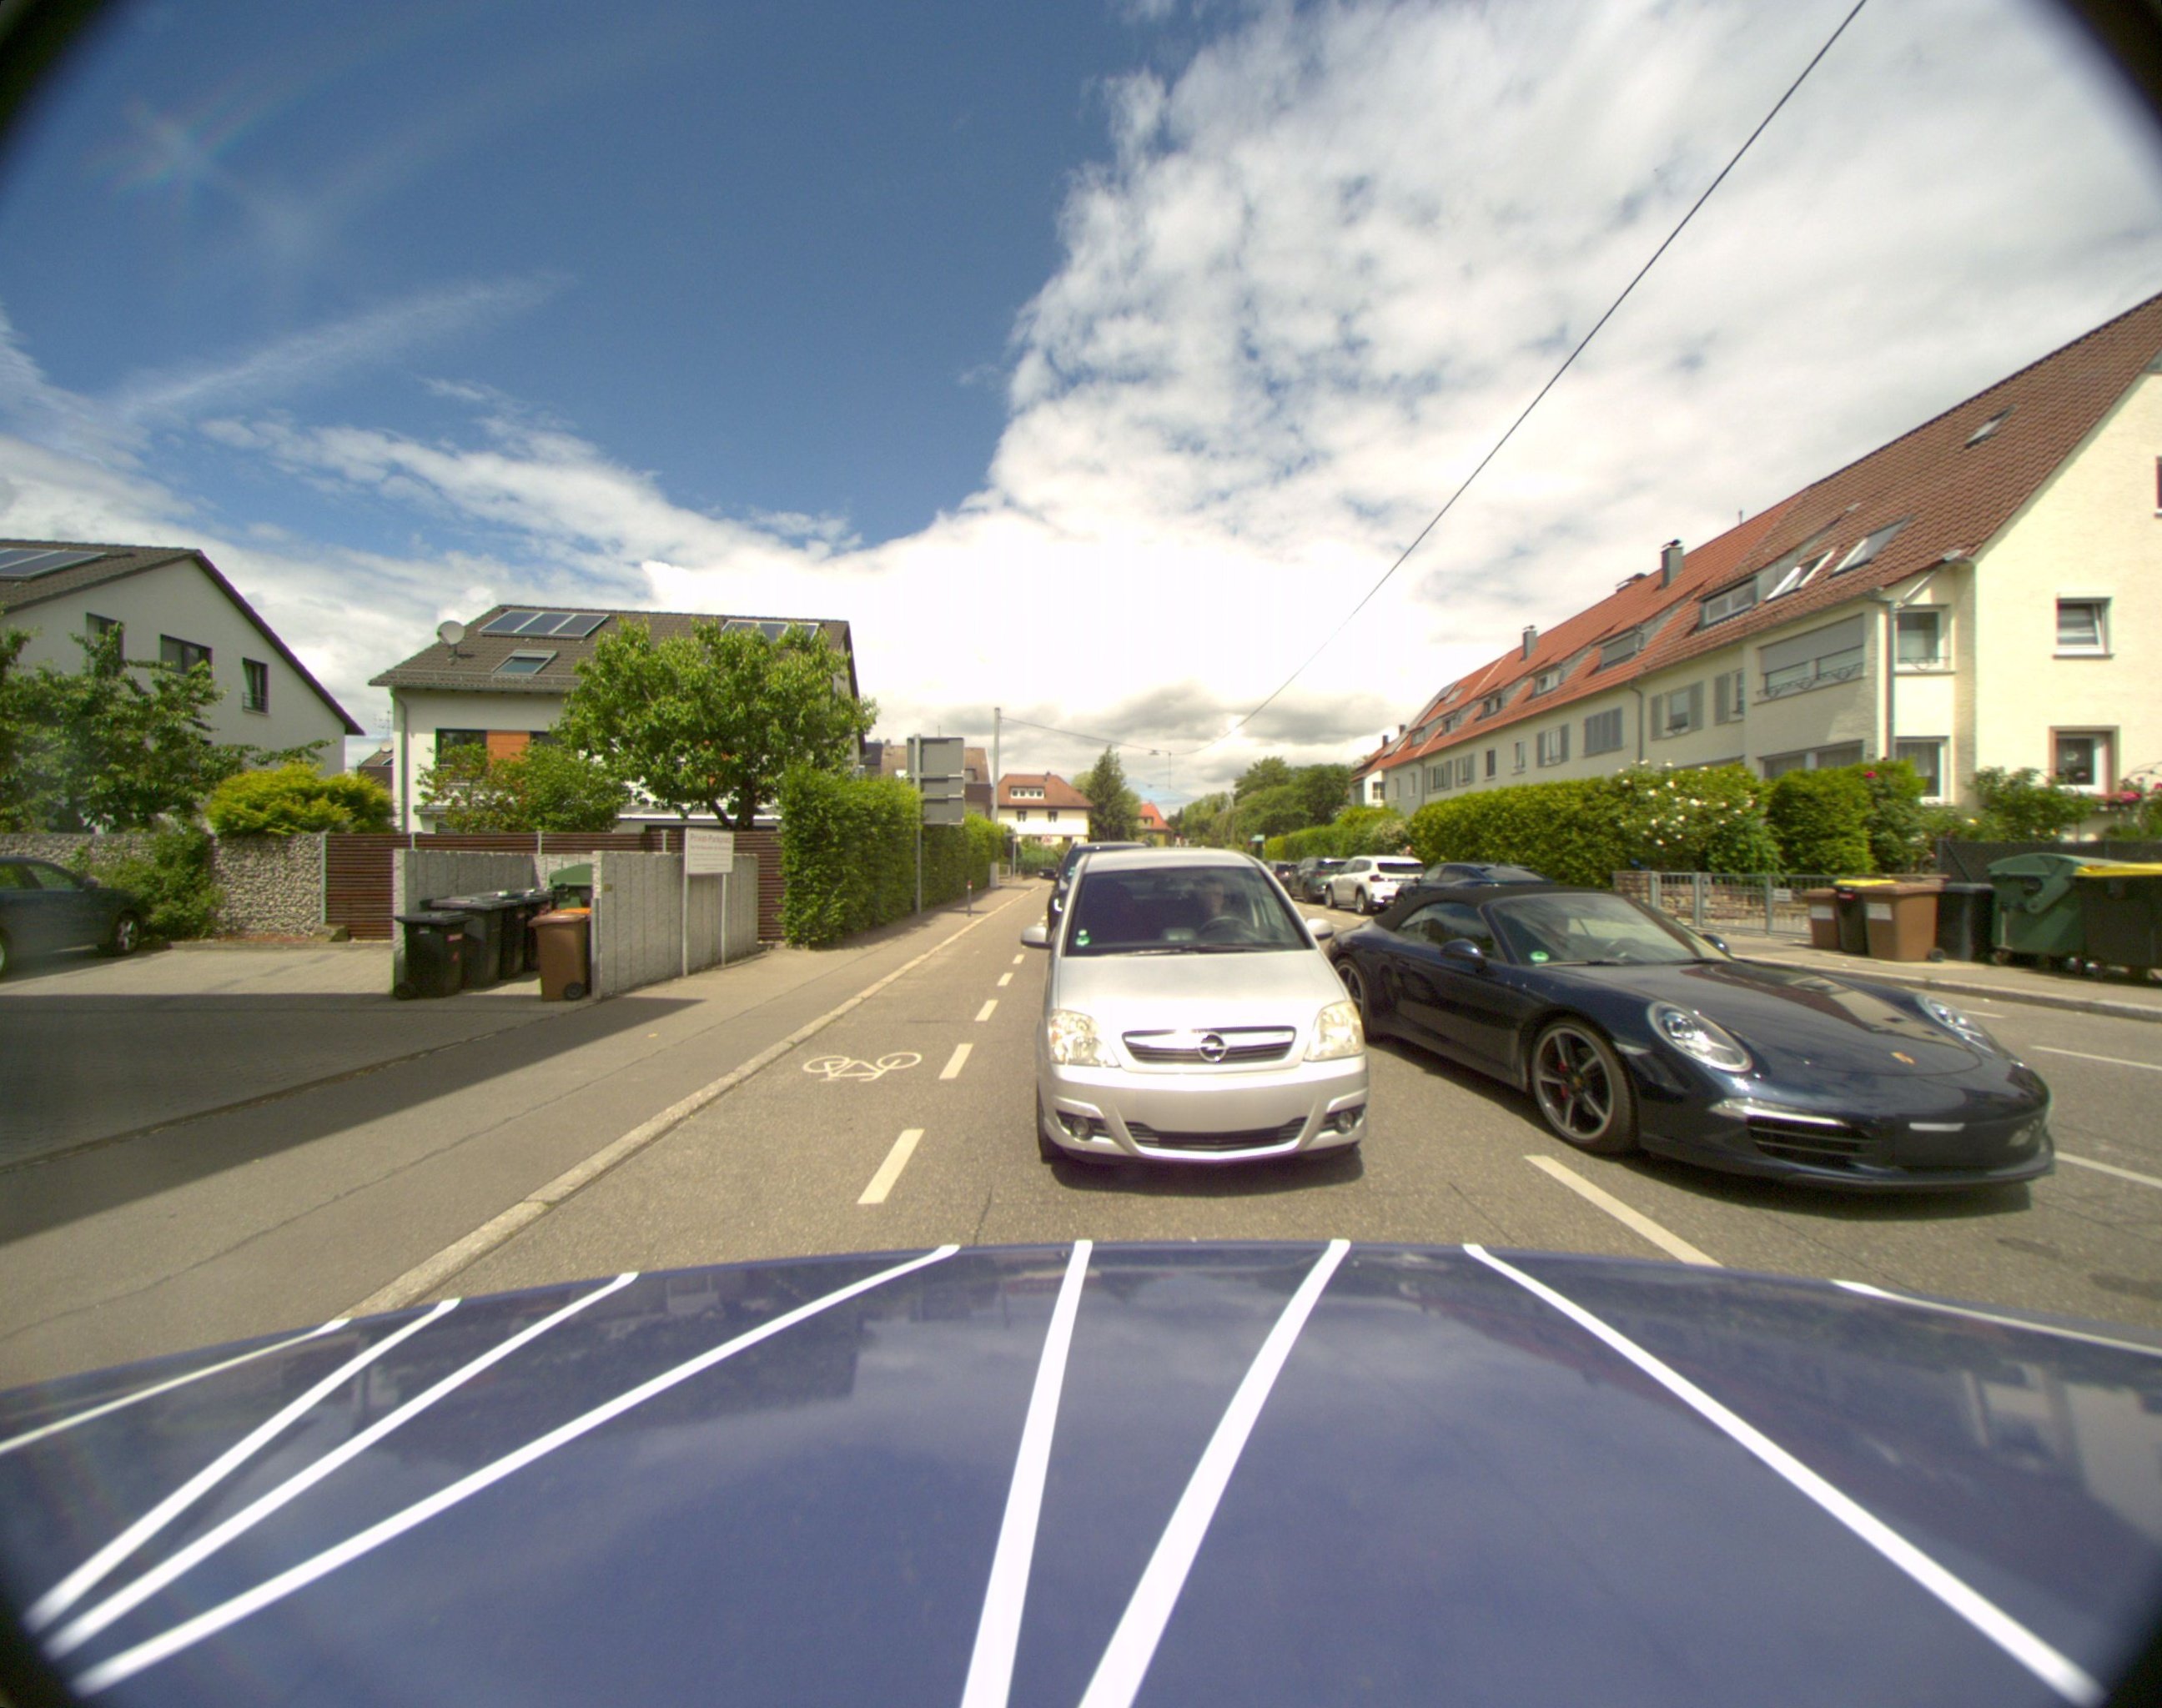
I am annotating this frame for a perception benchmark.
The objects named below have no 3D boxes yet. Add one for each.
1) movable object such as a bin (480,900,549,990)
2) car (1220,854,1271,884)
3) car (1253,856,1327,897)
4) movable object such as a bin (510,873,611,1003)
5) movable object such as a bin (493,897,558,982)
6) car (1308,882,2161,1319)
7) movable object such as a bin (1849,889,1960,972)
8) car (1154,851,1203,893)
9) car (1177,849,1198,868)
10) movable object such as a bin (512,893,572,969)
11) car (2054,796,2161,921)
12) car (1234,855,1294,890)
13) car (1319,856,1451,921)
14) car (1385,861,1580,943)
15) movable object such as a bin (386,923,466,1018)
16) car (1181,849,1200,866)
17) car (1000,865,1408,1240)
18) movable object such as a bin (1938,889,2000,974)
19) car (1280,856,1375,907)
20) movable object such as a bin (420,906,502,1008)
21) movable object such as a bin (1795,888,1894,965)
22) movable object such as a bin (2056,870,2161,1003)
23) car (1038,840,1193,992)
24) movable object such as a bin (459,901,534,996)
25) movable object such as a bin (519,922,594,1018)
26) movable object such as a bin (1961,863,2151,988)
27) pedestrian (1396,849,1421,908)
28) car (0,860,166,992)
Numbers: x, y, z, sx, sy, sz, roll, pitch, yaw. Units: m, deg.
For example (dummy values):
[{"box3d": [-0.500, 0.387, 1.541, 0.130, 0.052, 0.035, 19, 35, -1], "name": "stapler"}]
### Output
[{"box3d": [-7.295, 1.153, 9.811, 0.596, 1.069, 0.488, -1, 1, -24], "name": "movable object such as a bin"}, {"box3d": [9.280, 0.809, 43.292, 1.998, 1.623, 4.236, -1, 0, 0], "name": "car"}, {"box3d": [8.809, 0.898, 32.450, 1.998, 1.623, 4.236, 0, 0, 0], "name": "car"}, {"box3d": [-6.082, 0.965, 8.908, 0.809, 1.446, 0.479, -1, 1, -4], "name": "movable object such as a bin"}, {"box3d": [-7.508, 1.135, 10.296, 0.596, 1.069, 0.488, -1, 1, -24], "name": "movable object such as a bin"}, {"box3d": [3.178, 0.950, 4.803, 1.816, 1.356, 4.041, -1, 0, -8], "name": "car"}, {"box3d": [11.252, 1.026, 10.405, 0.763, 1.059, 0.693, -1, 1, 7], "name": "movable object such as a bin"}, {"box3d": [4.663, 0.804, 36.825, 1.998, 1.903, 4.070, -1, 0, 2], "name": "car"}, {"box3d": [11.457, 0.474, 81.452, 1.997, 1.903, 4.072, -1, 0, 11], "name": "car"}, {"box3d": [-8.076, 1.144, 11.411, 0.596, 1.069, 0.488, -1, 1, -19], "name": "movable object such as a bin"}, {"box3d": [19.382, 0.030, 12.572, 3.997, 2.002, 2.000, -1, 0, 0], "name": "car"}, {"box3d": [9.057, 0.863, 38.021, 1.998, 1.623, 4.236, -1, 0, 0], "name": "car"}, {"box3d": [8.538, 0.884, 21.805, 1.998, 1.623, 4.453, -1, 0, 0], "name": "car"}, {"box3d": [8.605, 0.935, 16.815, 1.819, 1.492, 4.452, -1, 0, -2], "name": "car"}, {"box3d": [-7.049, 1.240, 8.200, 0.519, 0.916, 0.478, -1, 1, -24], "name": "movable object such as a bin"}, {"box3d": [12.783, 0.340, 88.598, 1.997, 1.903, 4.072, -1, 0, 11], "name": "car"}, {"box3d": [0.559, 0.909, 5.355, 1.774, 1.566, 4.001, -1, 0, 0], "name": "car"}, {"box3d": [11.967, 1.018, 10.242, 0.657, 1.059, 0.522, -1, 1, -39], "name": "movable object such as a bin"}, {"box3d": [8.631, 0.899, 26.988, 1.998, 1.623, 4.236, -1, 0, 0], "name": "car"}, {"box3d": [-7.105, 1.161, 8.726, 0.596, 1.069, 0.488, -1, 1, -24], "name": "movable object such as a bin"}, {"box3d": [11.165, 1.044, 11.139, 0.763, 1.059, 0.693, -1, 1, 7], "name": "movable object such as a bin"}, {"box3d": [11.801, 0.870, 8.278, 1.092, 1.354, 0.981, -1, 0, 0], "name": "movable object such as a bin"}, {"box3d": [0.364, 0.758, 11.966, 1.887, 1.838, 5.219, -1, 0, -1], "name": "car"}, {"box3d": [-7.139, 1.137, 9.303, 0.596, 1.069, 0.488, -1, 1, -24], "name": "movable object such as a bin"}, {"box3d": [-5.537, 1.210, 8.041, 0.519, 0.916, 0.478, -1, 1, -18], "name": "movable object such as a bin"}, {"box3d": [11.962, 0.842, 9.367, 1.092, 1.438, 0.981, -1, 0, 0], "name": "movable object such as a bin"}, {"box3d": [10.187, 0.754, 23.633, 0.533, 1.805, 0.511, -1, 1, -4], "name": "pedestrian"}, {"box3d": [-14.842, 0.930, 10.045, 2.003, 1.587, 3.991, -1, 1, -26], "name": "car"}]
